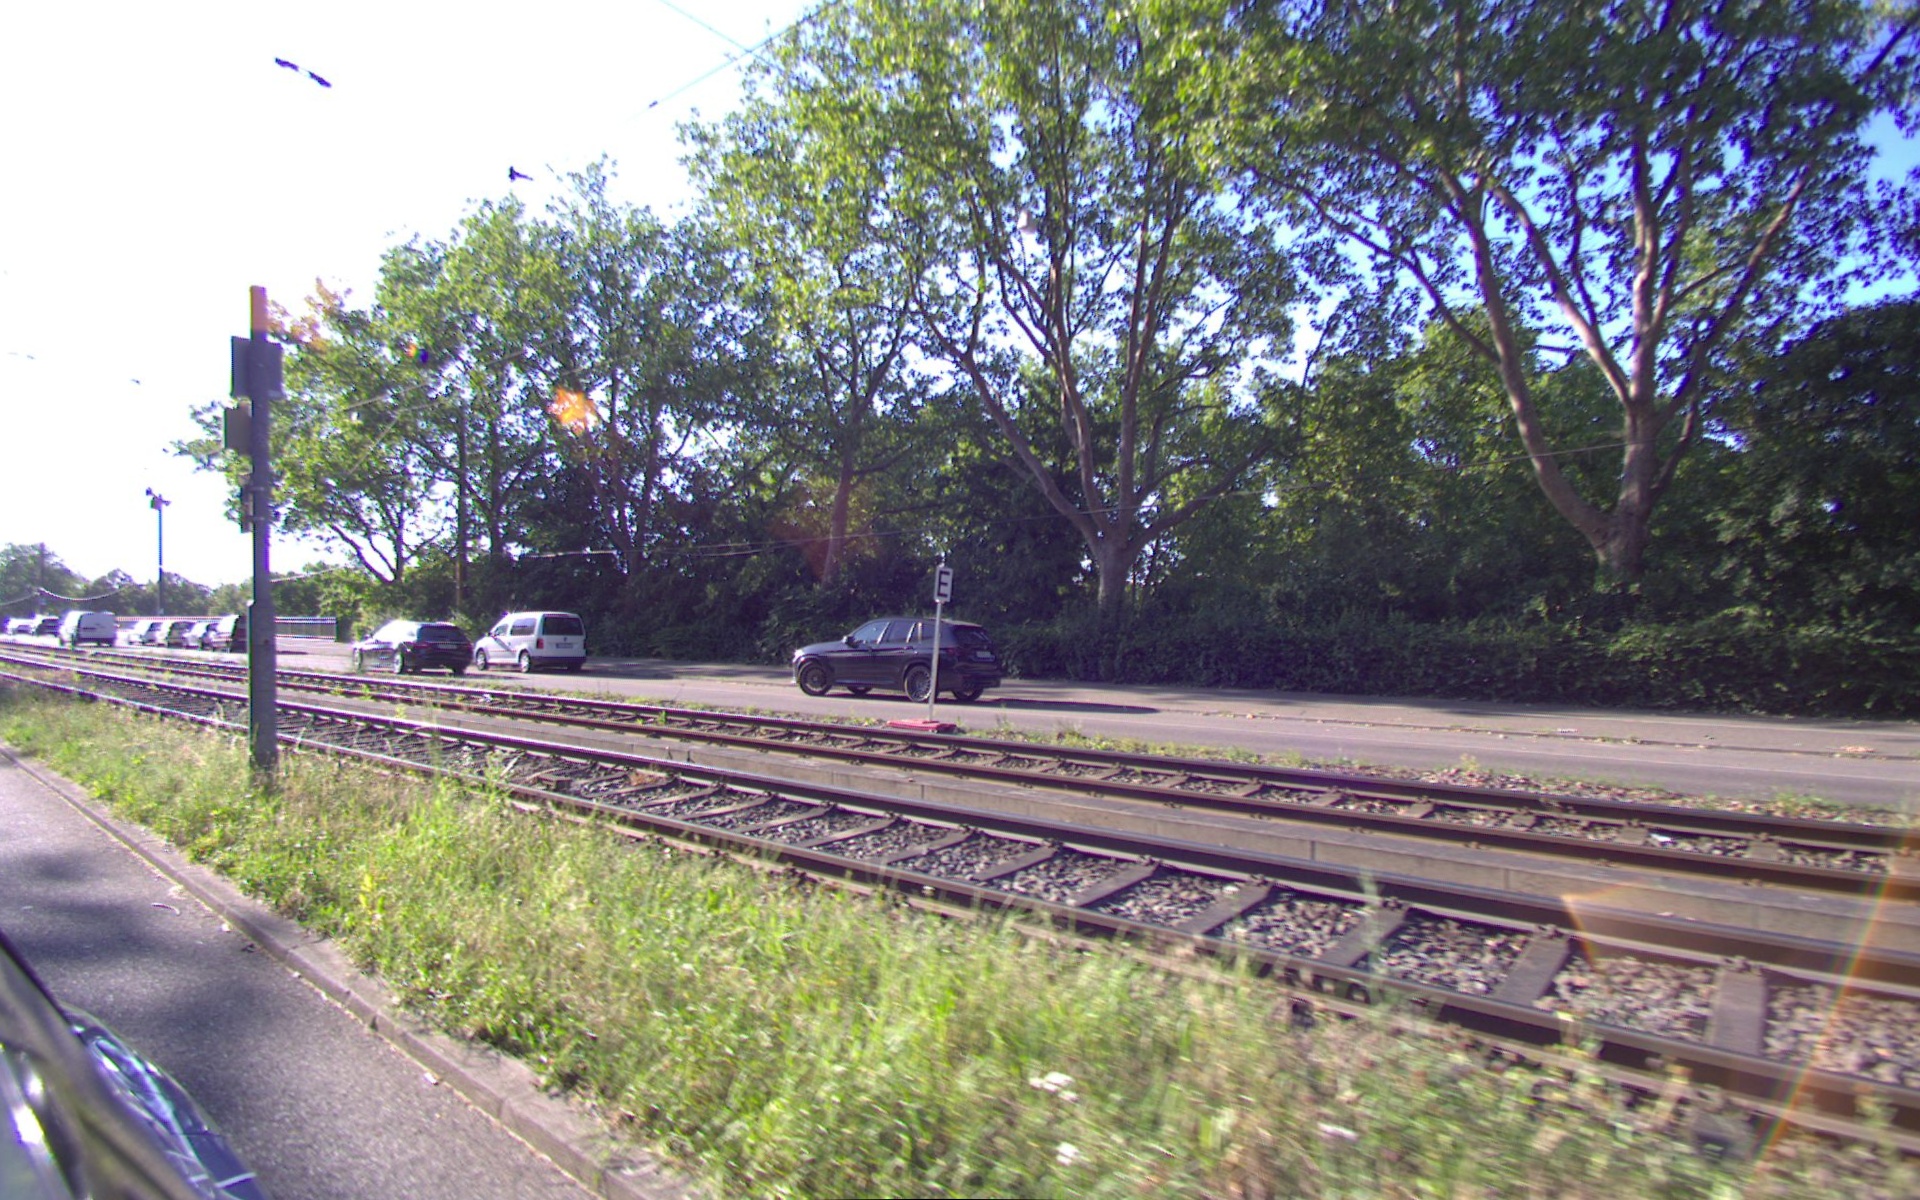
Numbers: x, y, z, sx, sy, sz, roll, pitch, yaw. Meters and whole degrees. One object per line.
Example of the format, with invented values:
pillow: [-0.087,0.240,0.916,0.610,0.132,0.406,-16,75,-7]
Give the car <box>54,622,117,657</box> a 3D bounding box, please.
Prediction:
car: [-48.861,2.202,56.503,5.031,1.866,1.808,-1,-3,40]

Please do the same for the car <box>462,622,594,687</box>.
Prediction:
car: [-13.314,1.619,31.072,4.388,1.854,1.809,-1,-3,38]

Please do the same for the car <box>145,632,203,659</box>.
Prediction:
car: [-43.466,2.510,55.948,3.781,1.453,1.638,-1,-3,39]

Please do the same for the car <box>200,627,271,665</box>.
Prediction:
car: [-35.083,2.188,48.968,3.894,1.753,1.713,-1,-3,38]

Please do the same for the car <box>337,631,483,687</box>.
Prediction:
car: [-15.551,1.624,28.543,4.744,1.426,1.901,-1,-4,39]

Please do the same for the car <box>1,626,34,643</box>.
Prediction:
car: [-84.122,3.067,90.303,3.922,1.511,1.637,-1,-3,40]

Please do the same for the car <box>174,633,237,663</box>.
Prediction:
car: [-39.169,2.481,52.540,3.780,1.453,1.638,-1,-3,38]

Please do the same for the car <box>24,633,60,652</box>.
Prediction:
car: [-75.359,3.491,83.092,3.922,1.511,1.637,-1,-3,40]

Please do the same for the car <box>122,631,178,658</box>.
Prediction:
car: [-47.582,2.602,59.439,3.920,1.511,1.638,-1,-3,38]

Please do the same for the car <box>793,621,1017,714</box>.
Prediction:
car: [-1.177,1.314,20.758,4.383,1.732,1.812,-1,-3,34]
